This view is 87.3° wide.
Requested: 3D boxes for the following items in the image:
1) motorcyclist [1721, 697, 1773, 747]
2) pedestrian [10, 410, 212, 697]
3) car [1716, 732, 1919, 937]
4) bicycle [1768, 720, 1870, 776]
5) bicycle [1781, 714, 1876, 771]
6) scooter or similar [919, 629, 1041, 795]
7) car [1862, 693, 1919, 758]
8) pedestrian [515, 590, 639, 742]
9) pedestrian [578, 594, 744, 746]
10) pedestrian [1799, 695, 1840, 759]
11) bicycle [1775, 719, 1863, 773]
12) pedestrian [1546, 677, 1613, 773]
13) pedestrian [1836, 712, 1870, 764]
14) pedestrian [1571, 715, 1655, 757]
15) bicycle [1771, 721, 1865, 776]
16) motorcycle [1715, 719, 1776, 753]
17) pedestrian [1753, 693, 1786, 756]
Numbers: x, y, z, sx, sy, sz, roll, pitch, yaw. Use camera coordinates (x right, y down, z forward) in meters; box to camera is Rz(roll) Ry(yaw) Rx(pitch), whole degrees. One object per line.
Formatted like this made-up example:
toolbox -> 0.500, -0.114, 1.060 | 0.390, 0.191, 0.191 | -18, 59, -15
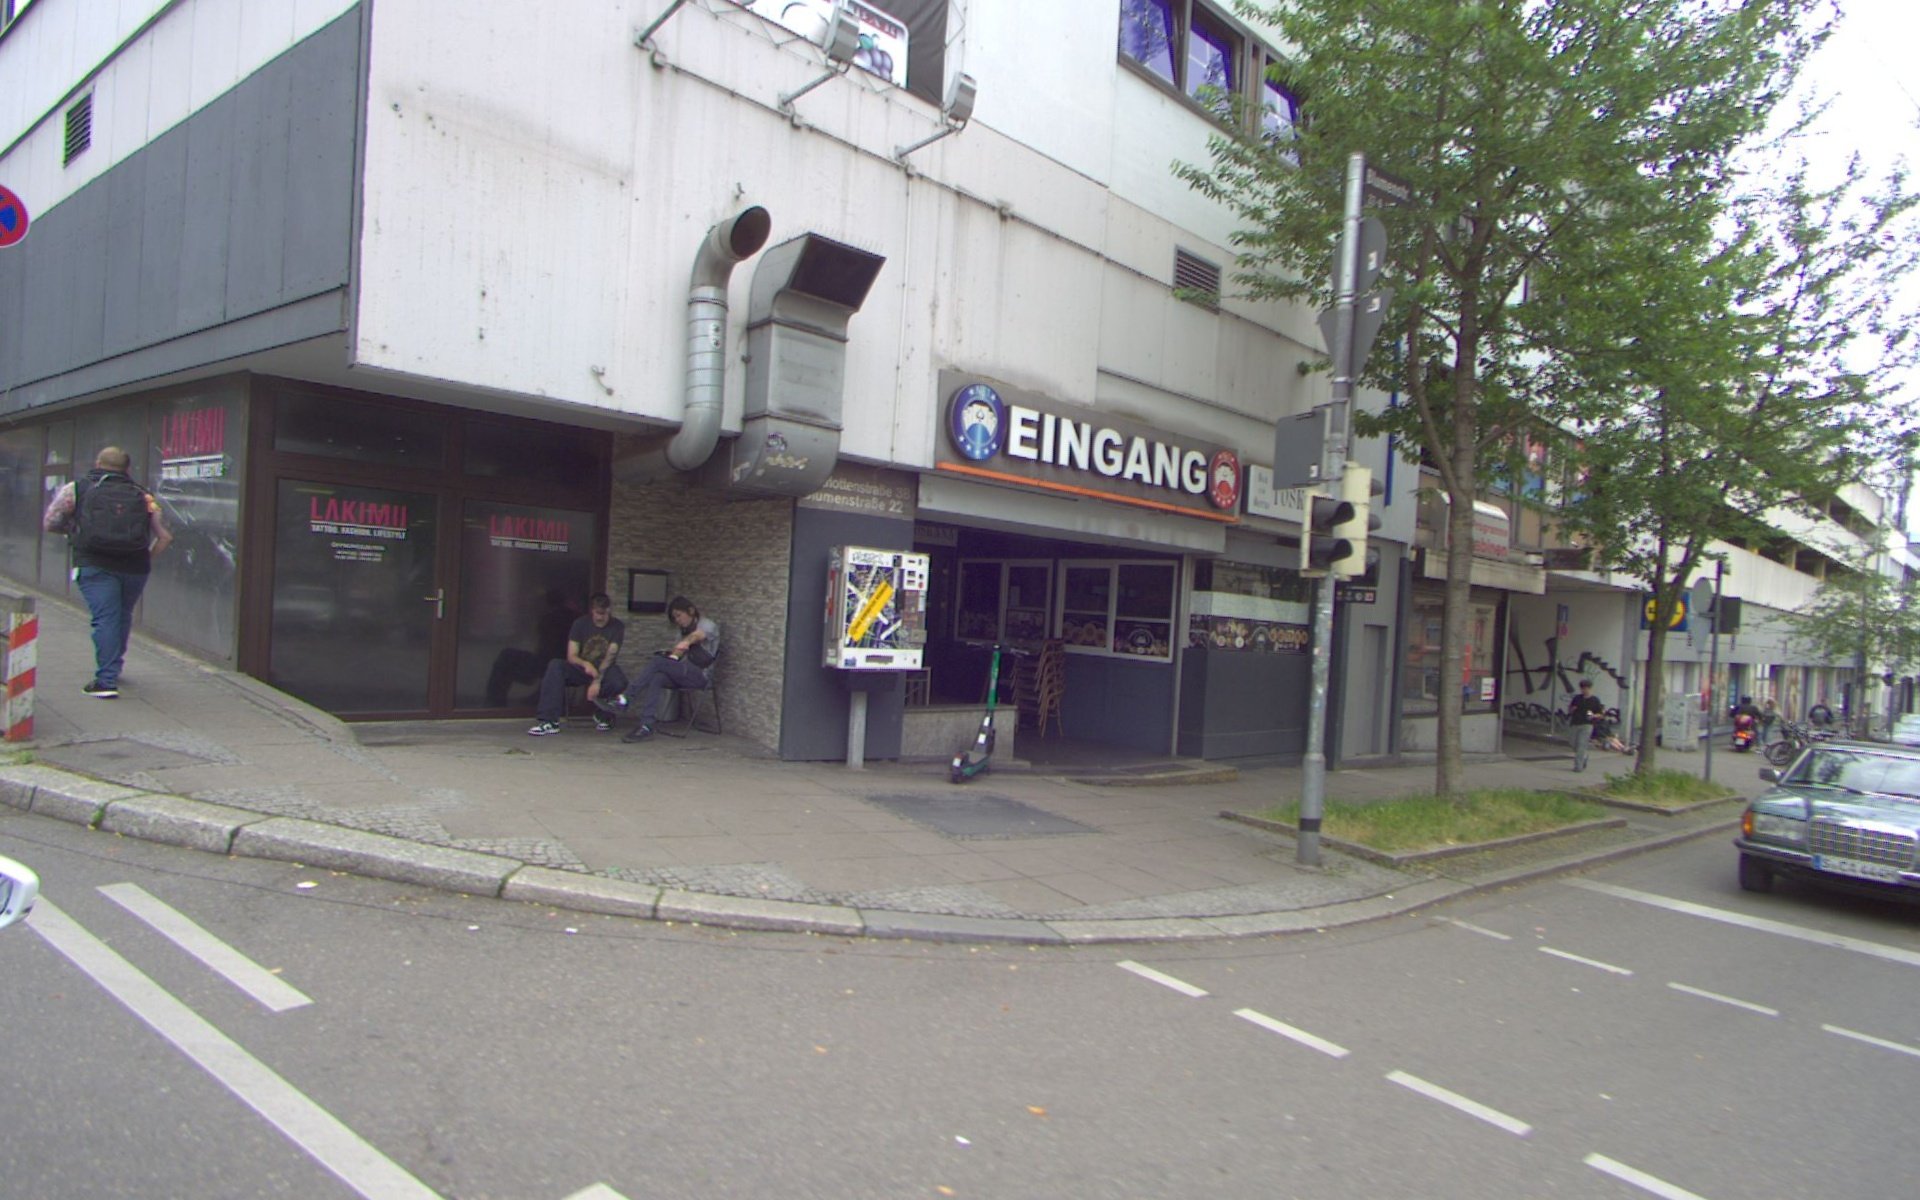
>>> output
motorcyclist -> 23.195, 3.590, 29.632 | 1.350, 1.327, 0.814 | 6, 1, -40
pedestrian -> -5.782, -0.309, 6.859 | 0.869, 1.808, 0.721 | 7, 1, 34
car -> 8.790, 2.070, 9.571 | 4.562, 1.373, 1.741 | 6, -2, -43
bicycle -> 21.932, 3.766, 25.711 | 0.729, 1.075, 1.814 | 6, 1, -42
bicycle -> 23.758, 3.872, 27.549 | 0.625, 1.224, 1.814 | 6, 1, -42
scooter or similar -> 0.220, 1.030, 9.429 | 0.586, 1.365, 1.392 | 7, -2, 19
car -> 34.474, 4.592, 36.639 | 3.972, 2.039, 1.855 | 7, 1, -42
pedestrian -> -3.446, 0.594, 9.052 | 0.731, 1.251, 0.709 | 6, 1, -41
pedestrian -> -2.650, 0.630, 8.934 | 1.101, 1.203, 0.734 | 7, 1, -41
pedestrian -> 29.447, 4.340, 34.461 | 0.848, 2.039, 0.766 | 6, 2, -42
bicycle -> 22.897, 3.880, 26.849 | 0.519, 1.115, 1.634 | 6, 1, -42
pedestrian -> 12.007, 2.417, 19.502 | 0.926, 1.732, 0.647 | 6, 1, -38
pedestrian -> 31.828, 4.925, 35.849 | 0.660, 1.732, 0.647 | 6, 1, -38
pedestrian -> 15.839, 3.291, 24.434 | 0.655, 0.736, 1.525 | 6, 1, -41
bicycle -> 21.471, 3.697, 25.195 | 0.555, 1.073, 1.645 | 6, 1, -42
motorcycle -> 23.173, 4.009, 29.656 | 2.740, 0.821, 0.812 | 7, 0, -40
pedestrian -> 27.698, 4.257, 34.421 | 0.567, 2.039, 0.594 | 6, 2, -42
